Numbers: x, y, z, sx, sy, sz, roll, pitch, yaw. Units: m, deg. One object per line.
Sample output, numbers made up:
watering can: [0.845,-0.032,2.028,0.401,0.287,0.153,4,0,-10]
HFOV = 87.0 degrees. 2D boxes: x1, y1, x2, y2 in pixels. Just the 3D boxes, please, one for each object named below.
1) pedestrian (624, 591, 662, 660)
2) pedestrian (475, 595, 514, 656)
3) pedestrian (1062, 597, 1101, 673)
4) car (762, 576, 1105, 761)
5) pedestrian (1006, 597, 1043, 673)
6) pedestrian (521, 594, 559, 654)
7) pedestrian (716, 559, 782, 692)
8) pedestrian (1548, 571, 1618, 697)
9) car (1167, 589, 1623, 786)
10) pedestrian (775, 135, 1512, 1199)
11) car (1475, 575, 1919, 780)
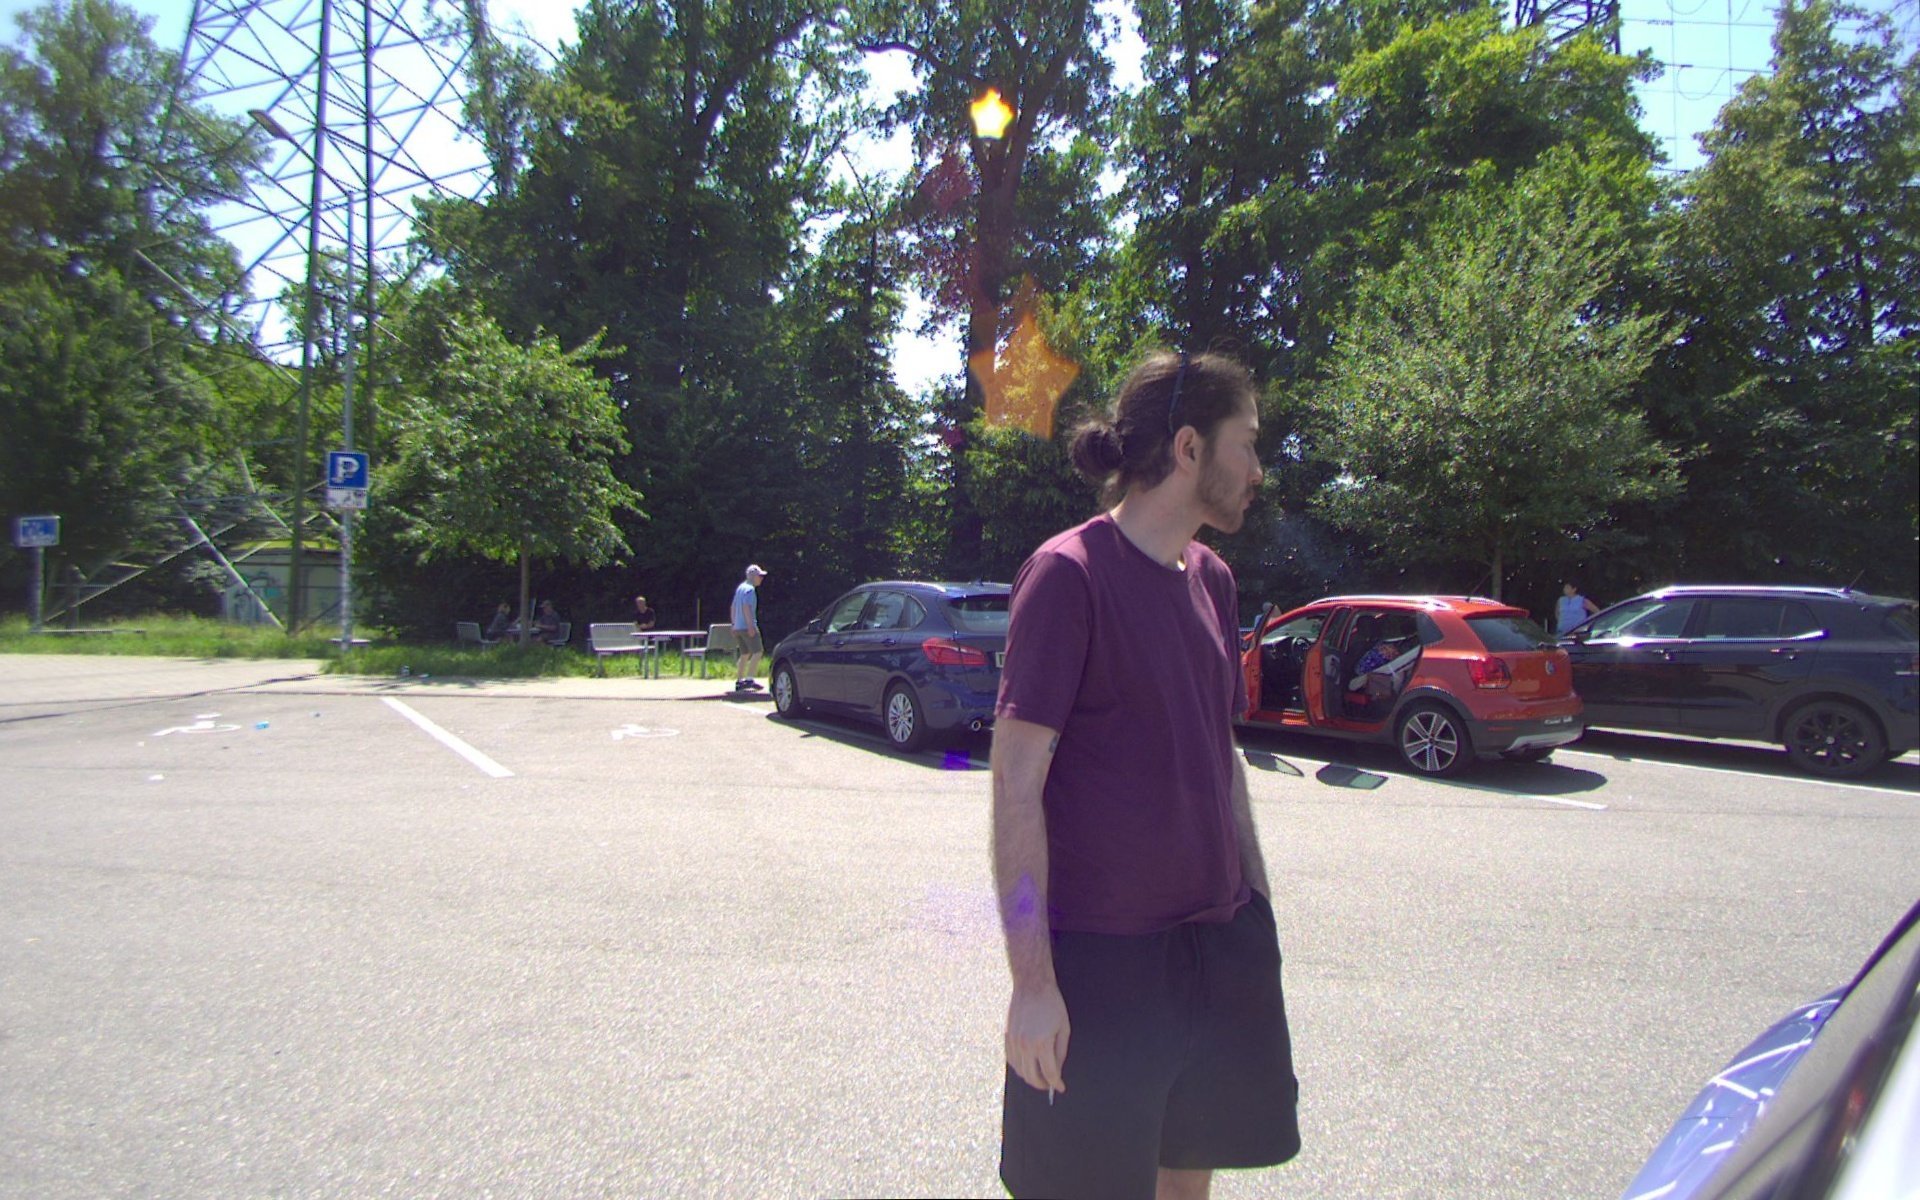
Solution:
pedestrian: [-6.673,0.525,21.311,0.553,1.408,0.700,0,0,2]
pedestrian: [-10.502,0.560,22.834,0.687,1.352,0.563,0,0,-40]
pedestrian: [2.032,0.582,17.010,0.576,1.251,0.697,0,-1,1]
car: [-0.467,0.559,10.661,1.776,1.562,3.940,1,0,-34]
pedestrian: [1.084,0.587,17.076,0.576,1.251,0.697,0,-1,1]
pedestrian: [-9.745,0.549,23.473,0.687,1.352,0.563,0,0,-40]
pedestrian: [-2.868,0.337,13.809,0.664,1.754,0.832,0,0,6]
pedestrian: [9.403,0.503,15.289,0.754,1.854,0.518,0,0,14]
car: [3.870,0.645,9.588,1.559,1.467,3.737,1,0,-33]
pedestrian: [0.228,0.420,1.665,0.843,1.857,0.866,0,0,-26]
car: [7.236,0.595,9.703,1.707,1.607,3.732,1,0,-39]
